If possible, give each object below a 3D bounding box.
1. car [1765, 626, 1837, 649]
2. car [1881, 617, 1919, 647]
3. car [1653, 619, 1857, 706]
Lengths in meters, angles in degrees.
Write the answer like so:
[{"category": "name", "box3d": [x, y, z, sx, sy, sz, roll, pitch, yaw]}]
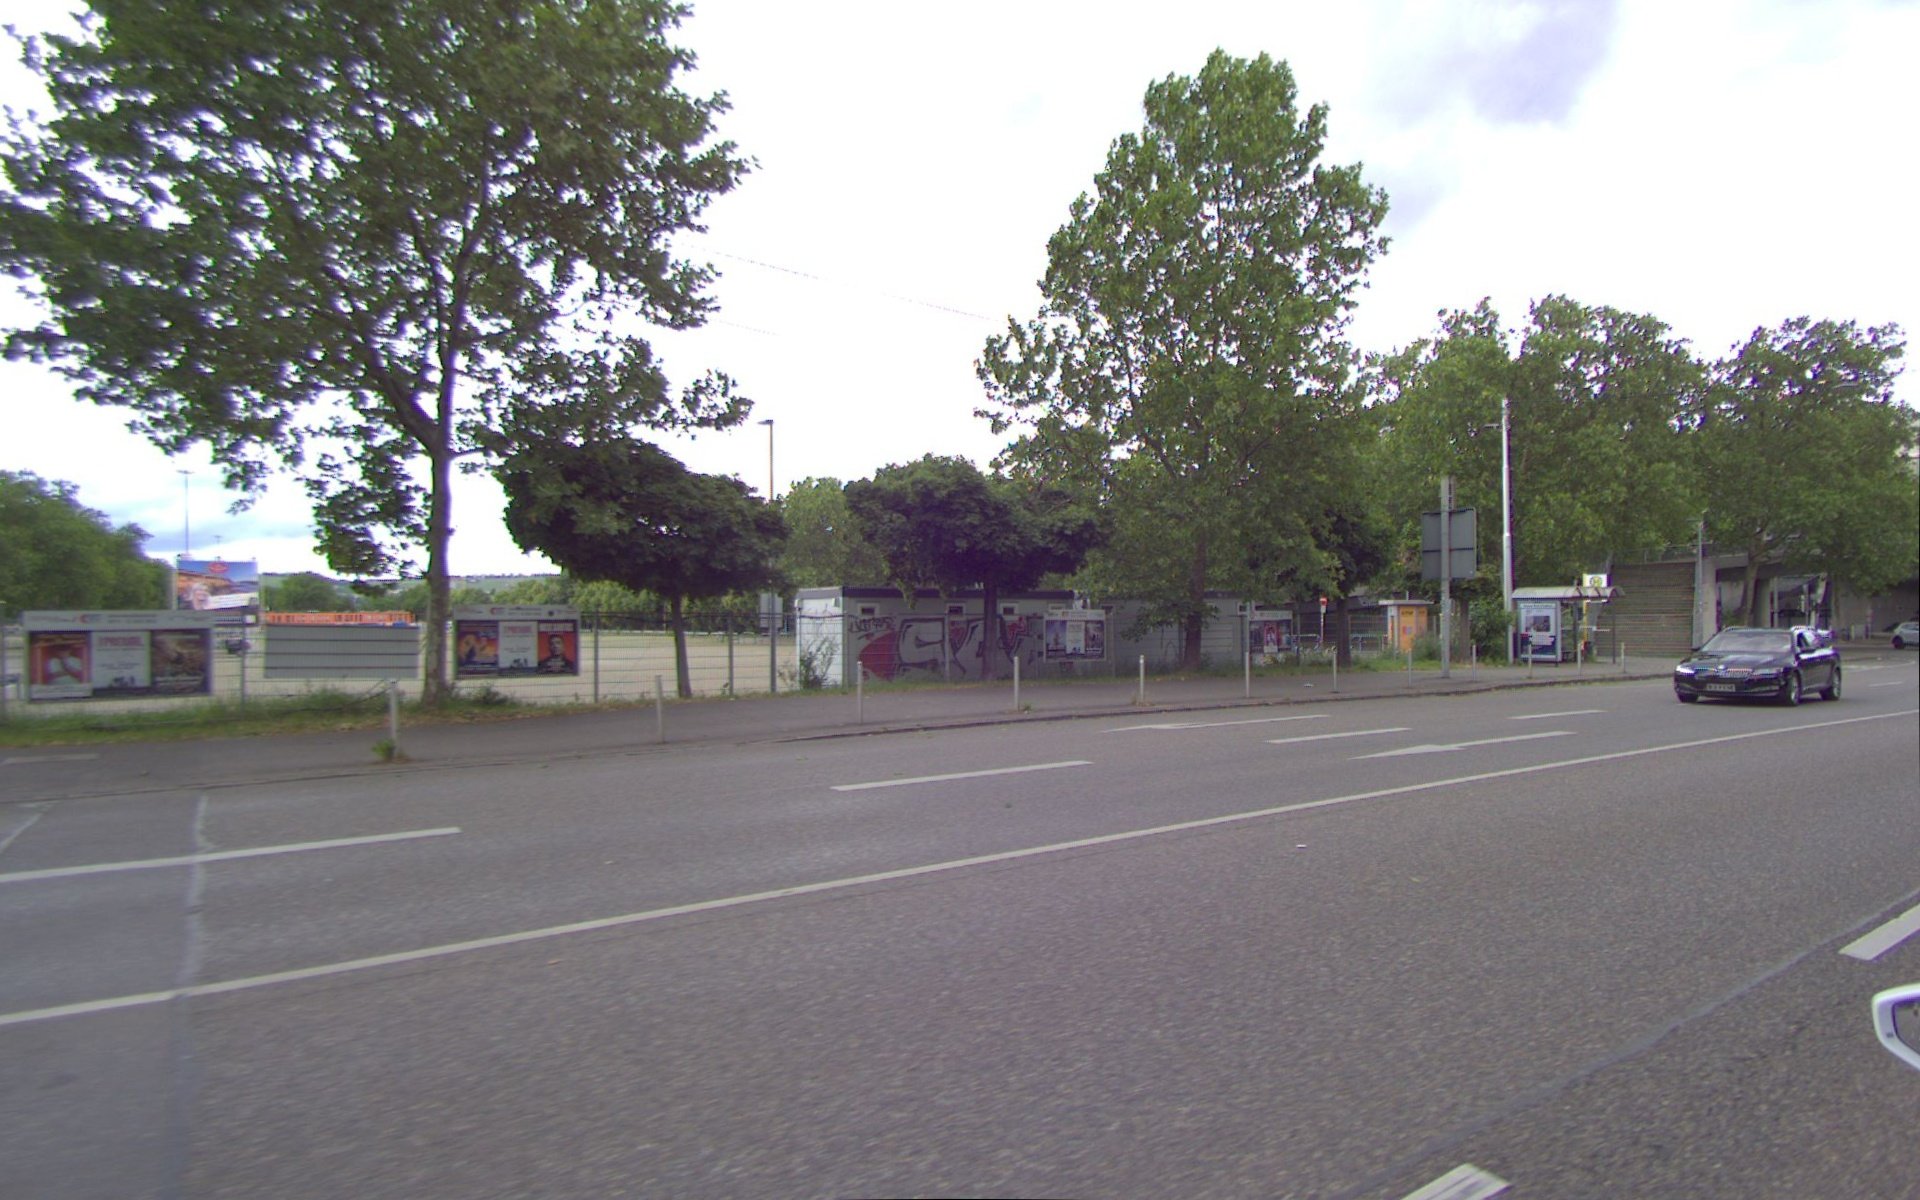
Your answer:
[{"category": "car", "box3d": [65.868, 2.917, 78.716, 1.979, 1.682, 3.963, 1, -1, -33]}, {"category": "car", "box3d": [58.398, 1.943, 60.561, 1.959, 1.767, 4.599, 1, -2, 8]}, {"category": "car", "box3d": [15.902, 1.169, 20.024, 4.679, 1.550, 1.980, 1, -2, -36]}]
